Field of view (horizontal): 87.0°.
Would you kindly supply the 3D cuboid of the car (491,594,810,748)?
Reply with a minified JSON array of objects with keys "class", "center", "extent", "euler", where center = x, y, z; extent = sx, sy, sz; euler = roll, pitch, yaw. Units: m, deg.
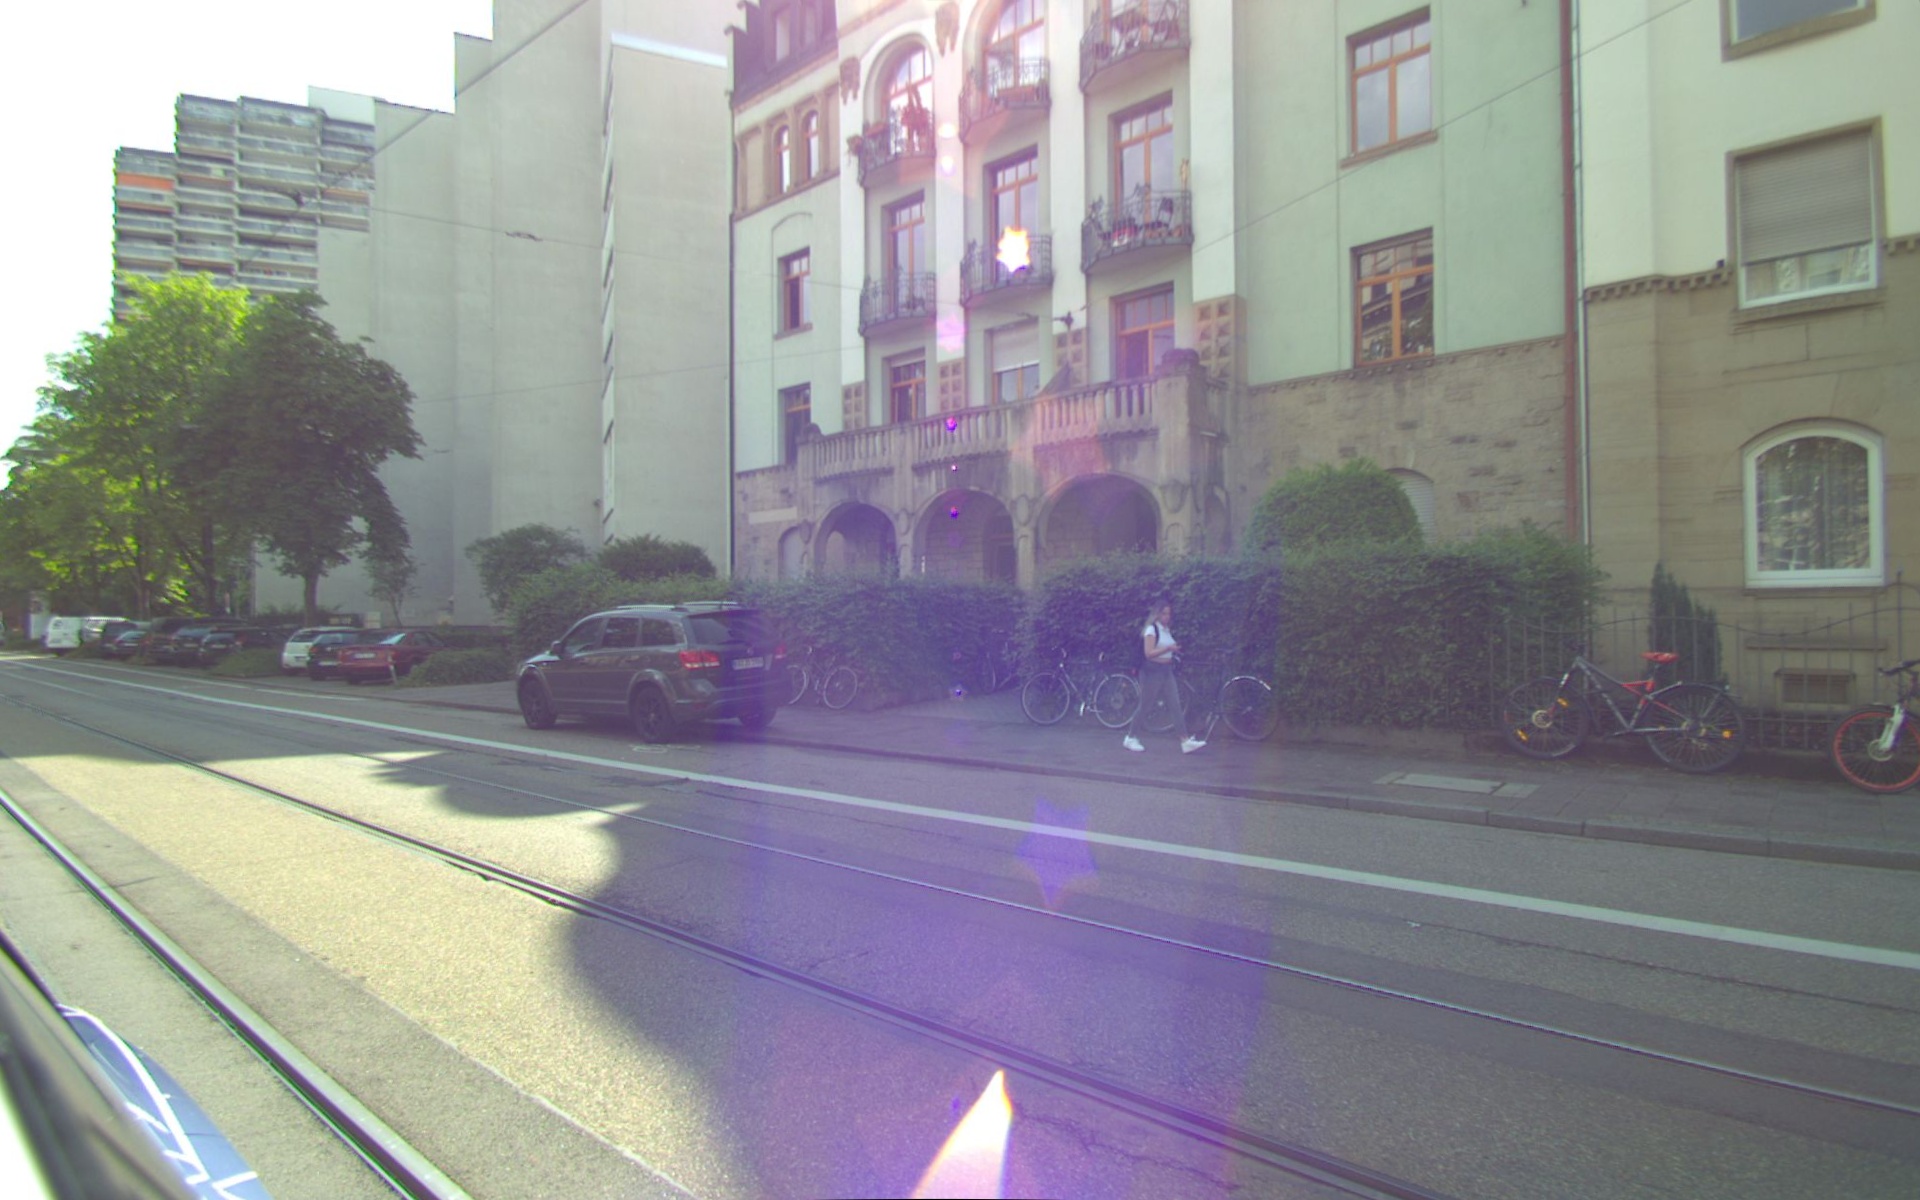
[{"class":"car","center":[-4.392,0.892,13.939],"extent":[4.877,1.776,1.767],"euler":[-2,-2,39]}]

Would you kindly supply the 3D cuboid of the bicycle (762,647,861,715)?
[{"class":"bicycle","center":[-2.339,1.238,15.791],"extent":[1.921,0.966,0.378],"euler":[-2,-1,43]}]

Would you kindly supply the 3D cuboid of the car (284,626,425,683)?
[{"class":"car","center":[-17.287,1.573,29.096],"extent":[1.674,1.495,3.805],"euler":[1,-3,1]}]

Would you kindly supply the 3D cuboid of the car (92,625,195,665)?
[{"class":"car","center":[-36.948,2.042,45.928],"extent":[1.734,1.706,3.717],"euler":[1,-3,-3]}]

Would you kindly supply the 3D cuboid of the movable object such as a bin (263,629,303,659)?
[{"class":"movable object such as a bin","center":[-33.734,2.194,50.451],"extent":[1.440,1.391,1.181],"euler":[-1,-4,38]}]

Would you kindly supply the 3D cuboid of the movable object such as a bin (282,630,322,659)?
[{"class":"movable object such as a bin","center":[-31.289,2.116,48.124],"extent":[1.440,1.293,1.156],"euler":[-1,-5,40]}]

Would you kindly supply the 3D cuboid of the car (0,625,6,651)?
[{"class":"car","center":[-70.797,2.774,73.202],"extent":[4.229,1.865,1.870],"euler":[-1,1,37]}]

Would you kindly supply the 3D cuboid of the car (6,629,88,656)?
[{"class":"car","center":[-55.080,2.566,61.164],"extent":[1.716,1.535,3.890],"euler":[-1,-1,-6]}]

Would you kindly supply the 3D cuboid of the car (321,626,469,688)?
[{"class":"car","center":[-14.910,1.513,26.980],"extent":[1.819,1.495,3.972],"euler":[1,-3,-2]}]

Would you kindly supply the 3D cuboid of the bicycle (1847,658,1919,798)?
[{"class":"bicycle","center":[7.412,0.919,7.066],"extent":[1.801,0.983,0.378],"euler":[-2,-1,43]}]

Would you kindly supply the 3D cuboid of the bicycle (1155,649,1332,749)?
[{"class":"bicycle","center":[3.031,1.033,10.957],"extent":[1.800,0.966,0.446],"euler":[-2,-1,40]}]

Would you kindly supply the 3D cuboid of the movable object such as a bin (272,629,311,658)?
[{"class":"movable object such as a bin","center":[-32.408,2.103,49.080],"extent":[1.440,1.337,1.152],"euler":[-1,-5,40]}]

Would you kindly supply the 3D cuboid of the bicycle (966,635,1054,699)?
[{"class":"bicycle","center":[0.881,1.116,17.307],"extent":[0.384,0.966,1.894],"euler":[-2,0,42]}]

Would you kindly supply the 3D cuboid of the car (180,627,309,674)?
[{"class":"car","center":[-24.865,1.776,35.354],"extent":[1.716,1.495,4.001],"euler":[1,-3,-2]}]

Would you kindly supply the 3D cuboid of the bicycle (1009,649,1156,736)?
[{"class":"bicycle","center":[1.475,1.110,12.482],"extent":[1.921,0.966,0.378],"euler":[-2,-1,43]}]

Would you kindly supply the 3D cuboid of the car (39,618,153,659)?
[{"class":"car","center":[-44.389,1.978,52.148],"extent":[1.941,2.012,4.686],"euler":[0,-2,-1]}]

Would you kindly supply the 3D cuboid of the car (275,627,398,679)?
[{"class":"car","center":[-19.364,1.670,31.618],"extent":[1.672,1.495,3.811],"euler":[1,-3,-5]}]

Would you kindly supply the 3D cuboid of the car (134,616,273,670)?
[{"class":"car","center":[-29.716,1.738,39.992],"extent":[1.887,1.969,5.174],"euler":[1,-3,-5]}]

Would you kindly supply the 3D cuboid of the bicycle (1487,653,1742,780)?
[{"class":"bicycle","center":[5.627,0.966,8.797],"extent":[1.801,0.966,0.378],"euler":[-2,-1,43]}]

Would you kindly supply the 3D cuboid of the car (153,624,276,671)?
[{"class":"car","center":[-27.391,1.755,37.359],"extent":[1.715,1.605,4.003],"euler":[1,-3,-4]}]

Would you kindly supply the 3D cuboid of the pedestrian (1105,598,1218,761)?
[{"class":"pedestrian","center":[2.067,0.781,10.411],"extent":[0.882,1.580,0.672],"euler":[-2,0,43]}]

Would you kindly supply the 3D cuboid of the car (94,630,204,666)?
[{"class":"car","center":[-34.558,2.060,43.266],"extent":[1.733,1.428,4.004],"euler":[1,-3,-5]}]

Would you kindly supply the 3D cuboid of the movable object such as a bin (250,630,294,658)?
[{"class":"movable object such as a bin","center":[-34.971,2.223,51.451],"extent":[1.536,1.374,1.374],"euler":[-1,-4,37]}]

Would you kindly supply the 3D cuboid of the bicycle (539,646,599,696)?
[{"class":"bicycle","center":[-8.066,1.443,20.851],"extent":[1.810,0.966,0.378],"euler":[-2,-1,43]}]
